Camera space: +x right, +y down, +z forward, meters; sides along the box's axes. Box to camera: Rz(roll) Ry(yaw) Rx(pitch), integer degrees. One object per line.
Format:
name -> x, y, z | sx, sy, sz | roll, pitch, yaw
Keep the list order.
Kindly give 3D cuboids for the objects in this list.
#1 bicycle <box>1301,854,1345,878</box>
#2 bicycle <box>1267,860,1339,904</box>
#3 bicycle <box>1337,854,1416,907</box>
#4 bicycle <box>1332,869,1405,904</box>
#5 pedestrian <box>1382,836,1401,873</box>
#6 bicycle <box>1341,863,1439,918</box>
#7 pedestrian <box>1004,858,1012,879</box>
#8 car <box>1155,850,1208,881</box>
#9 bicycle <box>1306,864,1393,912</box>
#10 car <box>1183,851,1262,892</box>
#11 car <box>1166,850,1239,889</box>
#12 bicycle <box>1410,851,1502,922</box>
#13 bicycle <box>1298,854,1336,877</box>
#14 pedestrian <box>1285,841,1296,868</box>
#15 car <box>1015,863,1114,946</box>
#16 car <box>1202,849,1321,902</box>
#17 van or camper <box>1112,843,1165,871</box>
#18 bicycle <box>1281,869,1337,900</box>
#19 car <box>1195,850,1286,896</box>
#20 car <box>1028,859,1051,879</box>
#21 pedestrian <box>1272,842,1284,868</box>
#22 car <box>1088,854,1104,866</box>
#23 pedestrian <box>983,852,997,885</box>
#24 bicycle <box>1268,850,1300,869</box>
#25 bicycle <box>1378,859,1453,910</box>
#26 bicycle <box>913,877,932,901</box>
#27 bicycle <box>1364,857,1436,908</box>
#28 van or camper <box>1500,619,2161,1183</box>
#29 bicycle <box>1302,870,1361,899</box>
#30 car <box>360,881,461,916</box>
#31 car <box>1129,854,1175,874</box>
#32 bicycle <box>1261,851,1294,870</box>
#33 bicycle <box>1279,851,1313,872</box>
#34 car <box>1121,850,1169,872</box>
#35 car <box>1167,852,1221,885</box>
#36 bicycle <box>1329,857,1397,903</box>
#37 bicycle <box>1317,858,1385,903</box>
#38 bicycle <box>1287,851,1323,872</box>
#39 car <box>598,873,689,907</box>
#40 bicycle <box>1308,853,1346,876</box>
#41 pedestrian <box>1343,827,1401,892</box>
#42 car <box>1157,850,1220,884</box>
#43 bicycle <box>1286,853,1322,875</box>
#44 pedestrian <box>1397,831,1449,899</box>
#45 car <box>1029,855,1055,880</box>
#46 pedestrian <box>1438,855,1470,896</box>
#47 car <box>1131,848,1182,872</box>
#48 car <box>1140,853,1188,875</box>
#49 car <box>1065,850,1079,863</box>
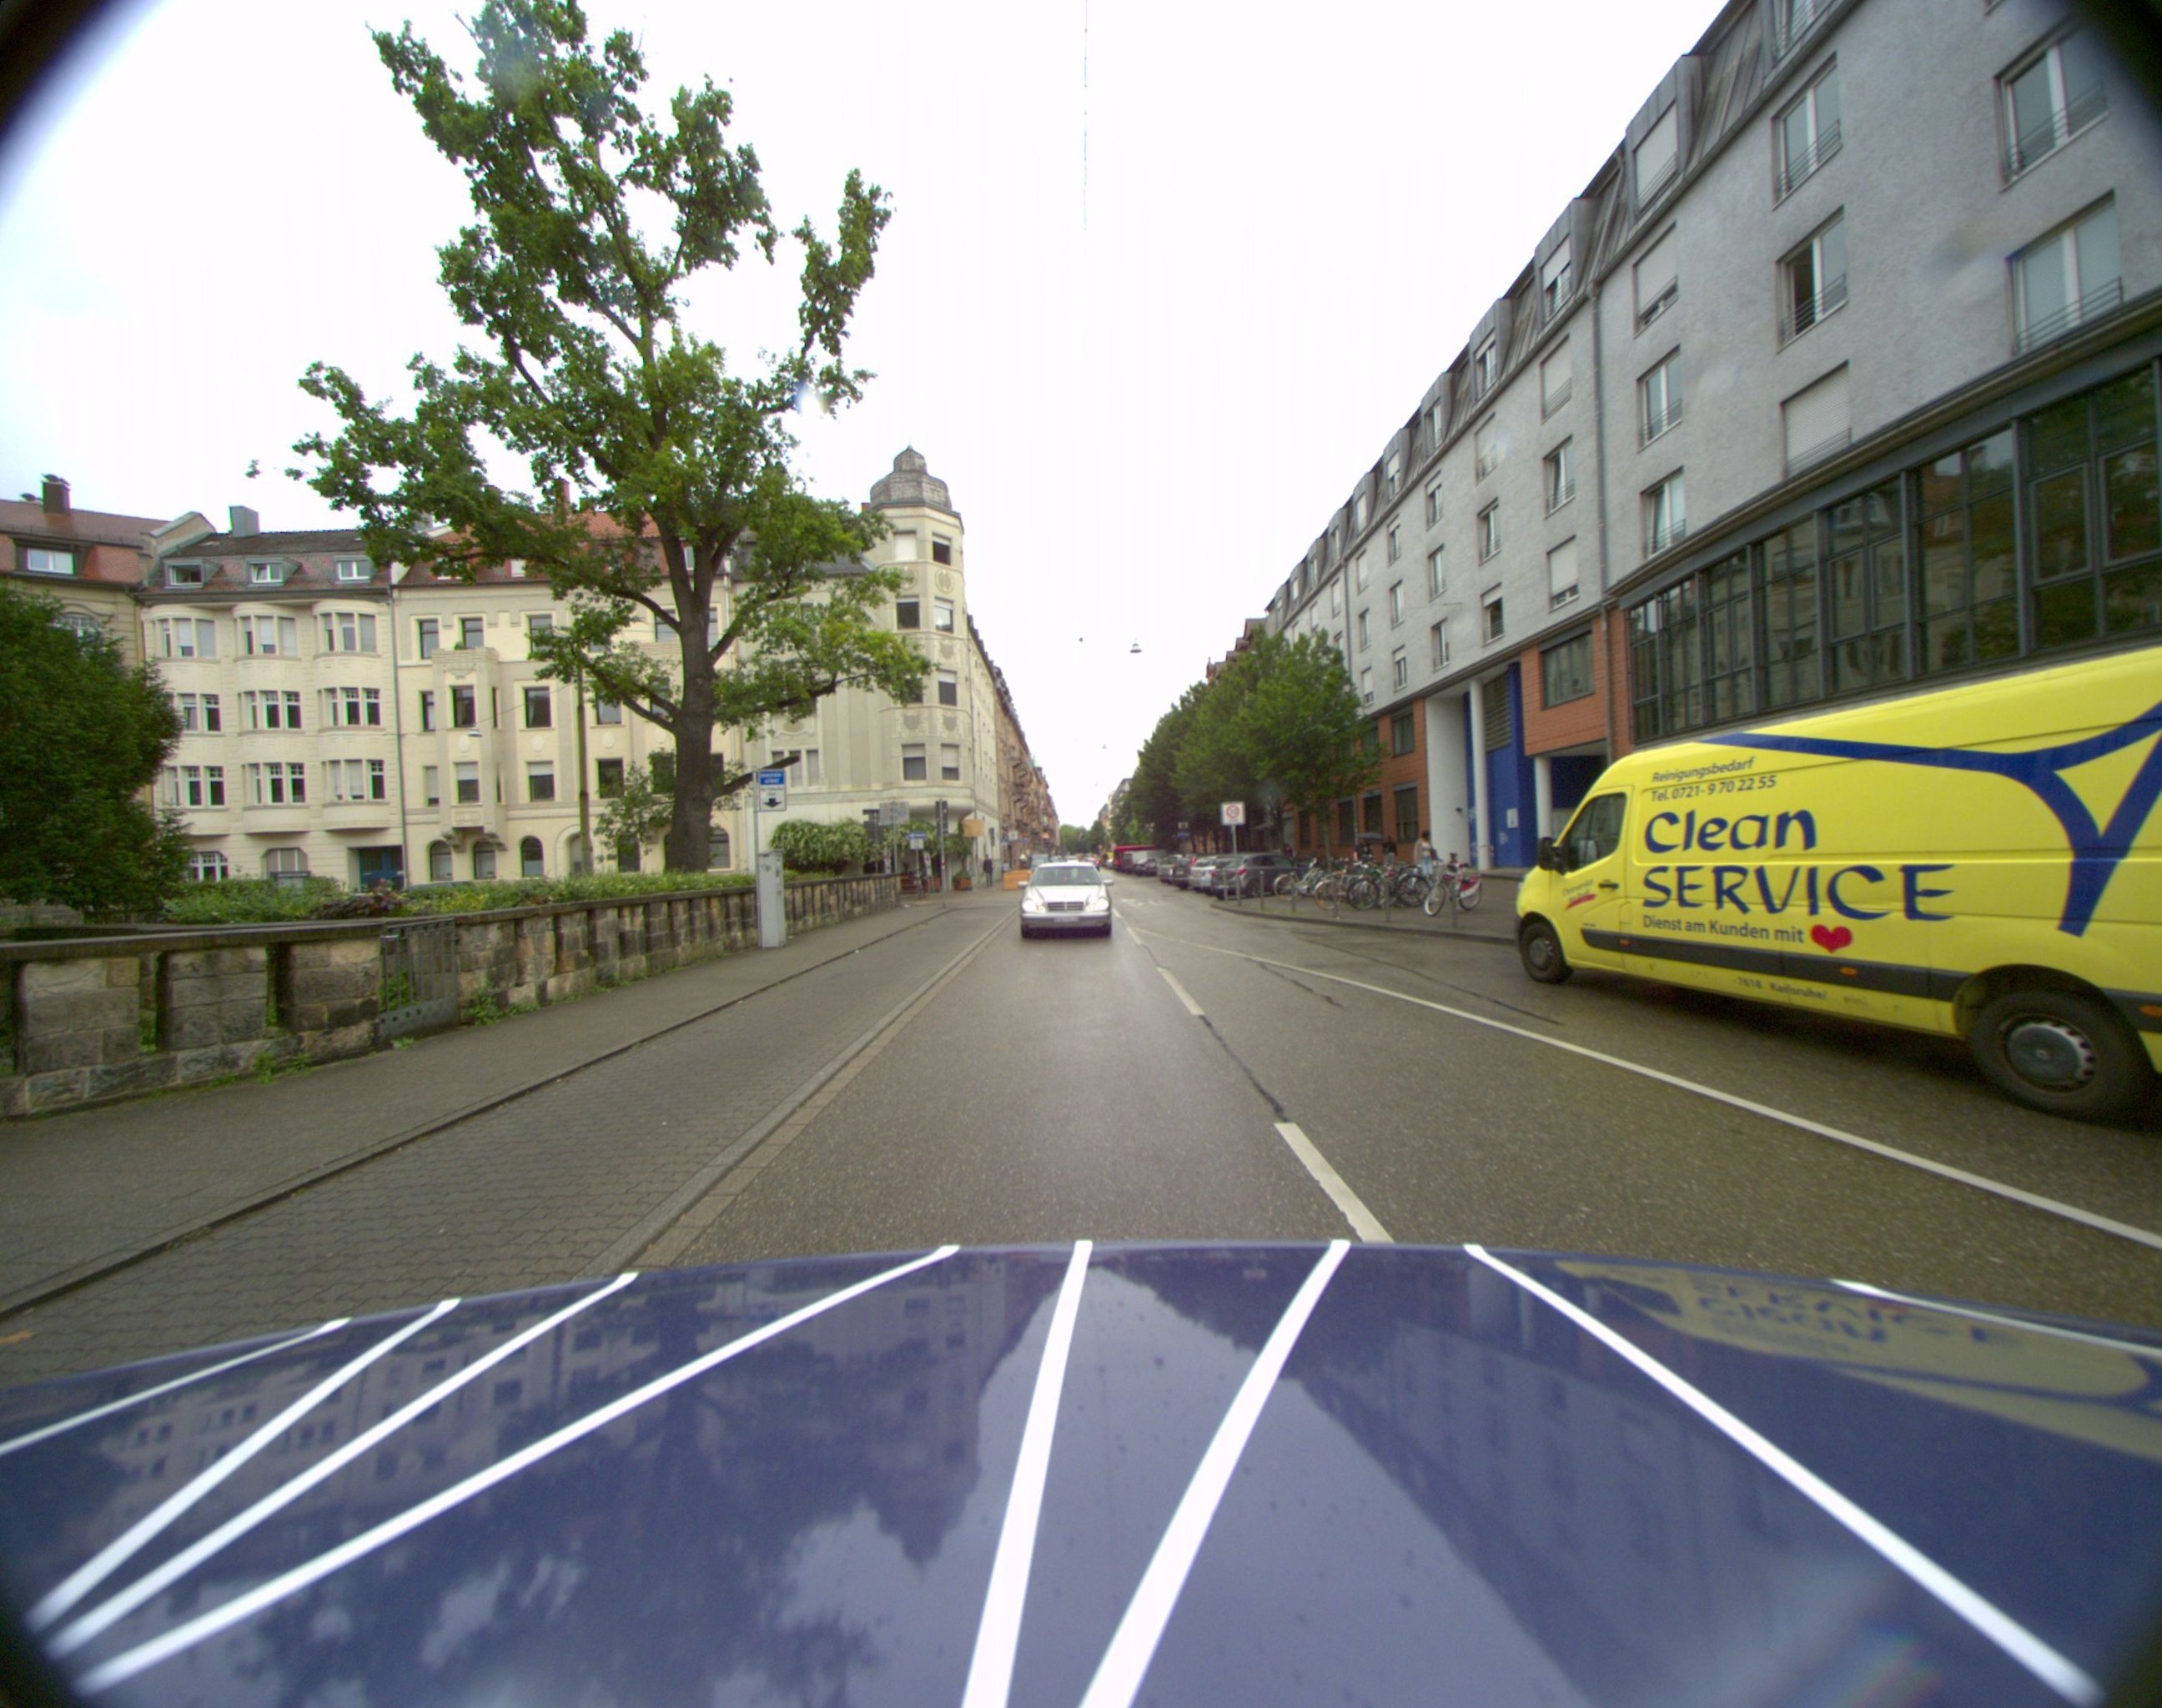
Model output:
bicycle -> 10.811, 0.519, 33.985 | 1.850, 0.978, 0.445 | -2, 1, -8
bicycle -> 6.211, 0.776, 21.279 | 1.812, 1.099, 0.472 | -4, 1, -4
bicycle -> 7.355, 0.642, 18.922 | 1.815, 1.187, 0.519 | -4, 1, -13
bicycle -> 7.385, 0.836, 19.514 | 1.773, 0.757, 0.456 | -4, 1, -13
pedestrian -> 12.993, 0.037, 31.834 | 0.516, 1.521, 0.548 | -1, 1, -3
bicycle -> 6.796, 0.800, 16.789 | 1.858, 1.067, 0.609 | -3, 1, 6
pedestrian -> -5.015, 1.014, 52.251 | 0.482, 1.452, 0.392 | -1, 1, 0
car -> 5.600, 0.627, 42.364 | 2.685, 1.546, 1.148 | -3, 0, -29
bicycle -> 6.219, 0.783, 17.629 | 1.800, 0.987, 0.520 | -4, 1, -2
car -> 5.789, 0.702, 30.979 | 3.084, 1.494, 1.449 | -3, 0, -40
car -> 5.449, 0.677, 33.867 | 3.084, 1.543, 1.449 | -3, 0, -40
bicycle -> 7.613, 0.619, 15.401 | 1.922, 1.209, 0.768 | -6, 3, -34
bicycle -> 10.686, 0.517, 34.459 | 1.590, 0.978, 0.445 | -2, 1, -8
pedestrian -> 12.698, 0.007, 46.116 | 0.514, 1.601, 0.425 | -2, 1, 1
car -> -0.294, 0.957, 15.982 | 1.764, 1.420, 4.000 | -2, 0, 0
car -> 6.064, 0.673, 25.442 | 3.628, 1.494, 1.736 | -3, 1, -31
van or camper -> 5.518, 0.296, 73.004 | 4.603, 2.597, 1.999 | -2, 0, -26
bicycle -> 6.691, 0.892, 22.339 | 1.473, 0.800, 0.497 | -4, 1, 3
car -> 5.961, 0.692, 28.369 | 3.083, 1.494, 1.449 | -3, 0, -31
car -> -2.867, 1.016, 53.044 | 1.447, 1.348, 3.204 | -1, 0, 0
pedestrian -> 11.998, 0.063, 46.319 | 0.605, 1.601, 0.372 | -2, 1, -1
car -> 1.674, 0.704, 88.518 | 1.651, 1.301, 3.311 | -1, 0, -2
pedestrian -> -5.175, 0.805, 43.301 | 0.646, 1.862, 0.693 | -1, 1, 0
bicycle -> 11.051, 0.312, 41.328 | 1.590, 0.978, 0.465 | -2, 1, -8
bicycle -> 7.590, 0.699, 17.287 | 1.462, 1.058, 0.418 | -3, 1, 4
bicycle -> -7.094, 1.555, 34.149 | 0.390, 0.888, 2.023 | -2, 2, 0
bicycle -> 7.565, 0.677, 18.060 | 1.461, 1.096, 0.462 | -3, 1, 14
van or camper -> 6.039, 0.198, 5.880 | 2.201, 2.596, 5.941 | -1, 0, -1
bicycle -> 7.163, 0.882, 21.759 | 1.473, 0.717, 0.497 | -4, 1, 3
car -> -29.911, 1.968, 33.943 | 3.270, 1.401, 1.448 | -1, 0, 3
car -> 5.584, 0.785, 59.318 | 1.685, 1.481, 3.799 | -1, 0, 41
bicycle -> 10.460, 0.341, 40.436 | 1.590, 0.978, 0.465 | -2, 1, -8
bicycle -> 10.797, 0.356, 38.159 | 1.590, 0.978, 0.465 | -2, 1, -8
car -> 5.636, 0.608, 67.063 | 4.338, 1.822, 1.571 | -2, 0, -40
car -> 5.544, 0.689, 37.099 | 2.506, 1.442, 1.191 | -3, 0, -40
bicycle -> 7.484, 0.671, 20.169 | 1.611, 1.099, 0.519 | -4, 1, -13
bicycle -> 7.391, 0.718, 20.821 | 1.610, 1.099, 0.520 | -4, 1, -4
bicycle -> 10.905, 0.366, 36.993 | 1.590, 0.978, 0.445 | -2, 1, -8
car -> -19.762, 1.619, 34.374 | 3.270, 1.401, 1.448 | -1, 0, 3
bicycle -> 11.314, 0.494, 34.999 | 1.590, 0.978, 0.445 | -2, 1, -8
pedestrian -> 9.186, 0.174, 24.051 | 1.228, 1.870, 1.055 | -6, 0, 0
car -> 5.610, 0.680, 39.607 | 2.985, 1.546, 1.370 | -3, 0, -29
bicycle -> 10.692, 0.492, 36.375 | 1.590, 0.978, 0.445 | -2, 1, -8
pedestrian -> 9.117, 0.282, 20.305 | 0.827, 1.697, 0.859 | -6, 0, 1
car -> -2.919, 1.008, 57.829 | 1.726, 1.794, 3.462 | -1, 0, 0
pedestrian -> 10.087, 0.583, 20.570 | 0.485, 1.044, 0.528 | -6, 0, -1
car -> 6.368, 0.480, 63.646 | 4.338, 1.884, 1.685 | -2, 0, -40
car -> 6.233, 0.739, 57.028 | 1.685, 1.481, 3.799 | -1, 0, 41
car -> -1.483, 0.408, 123.487 | 1.998, 2.002, 4.000 | -2, 0, 1
